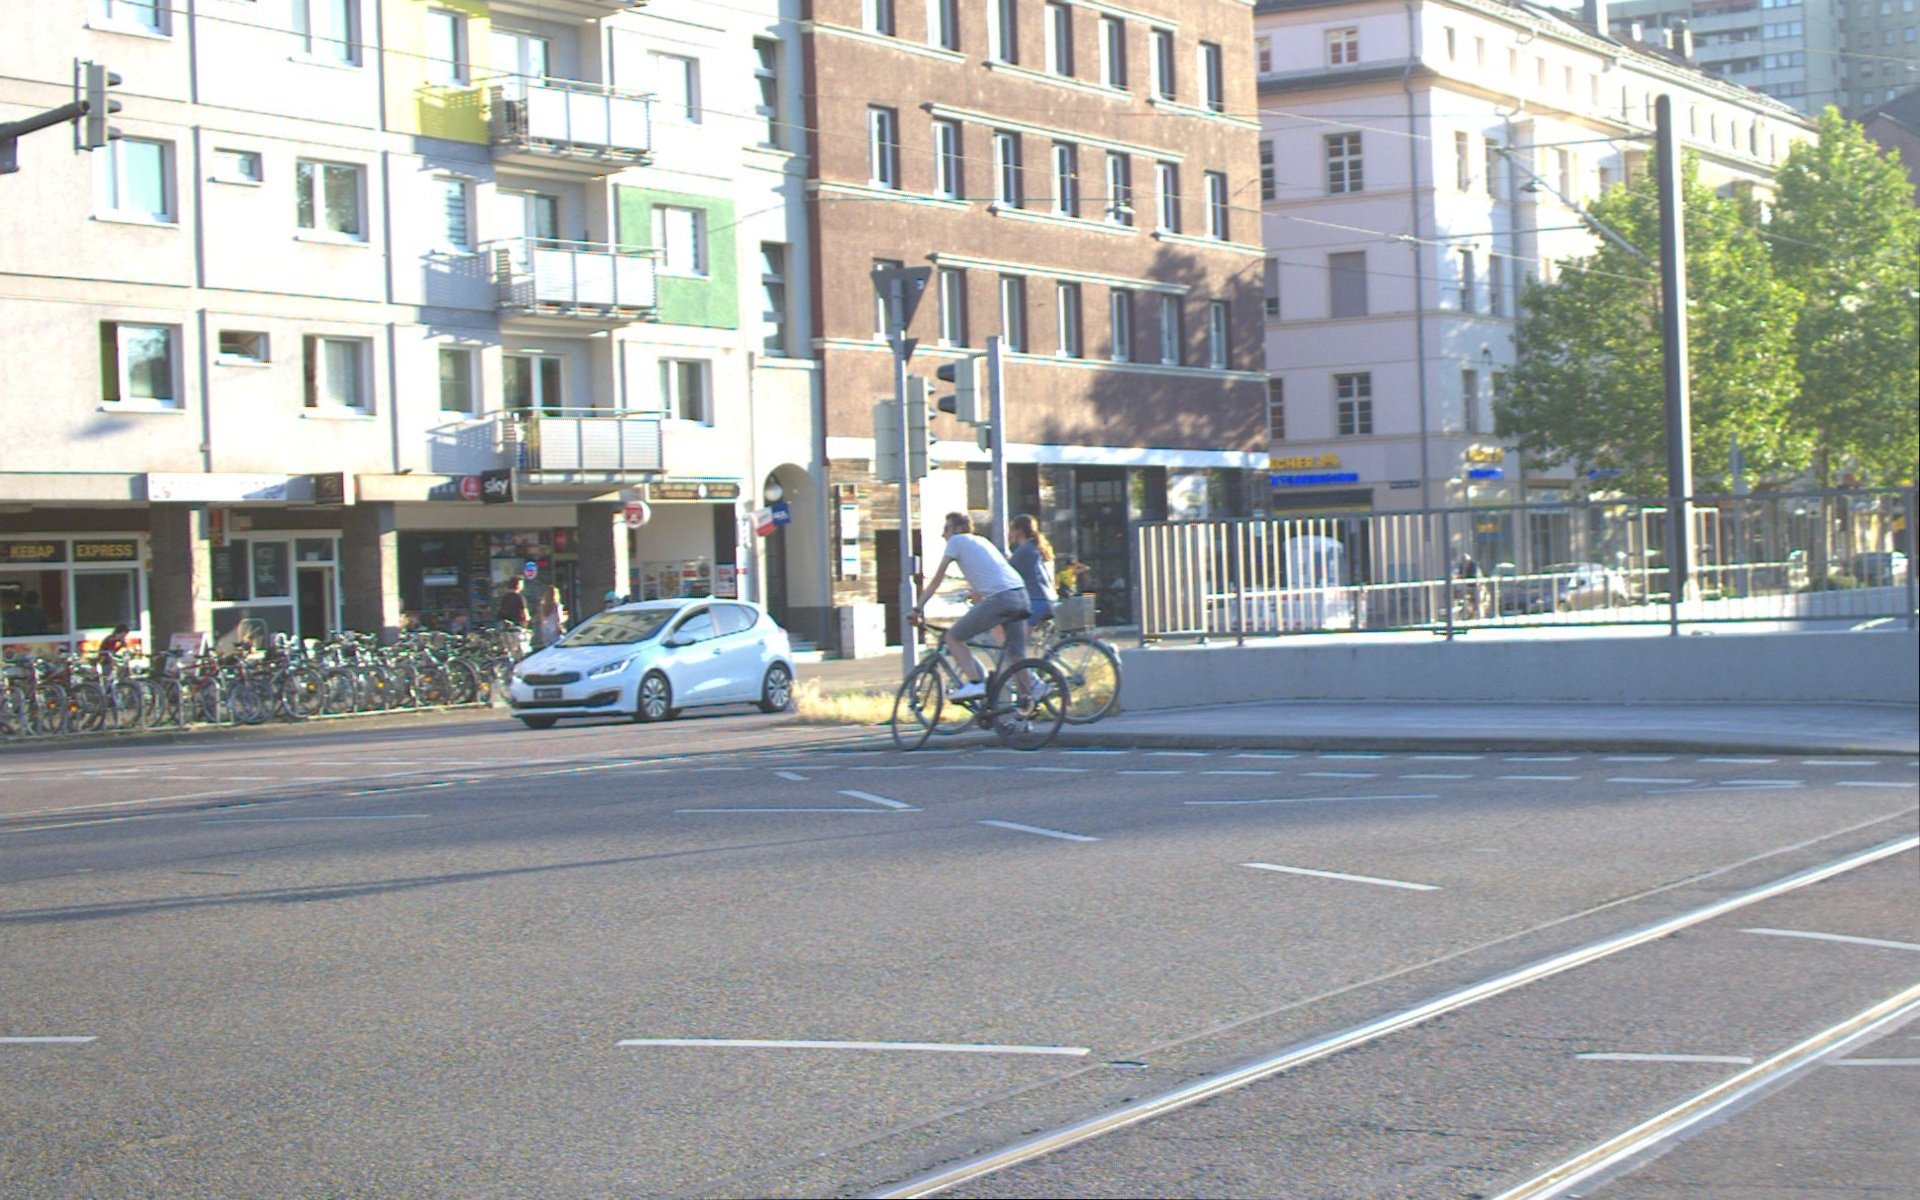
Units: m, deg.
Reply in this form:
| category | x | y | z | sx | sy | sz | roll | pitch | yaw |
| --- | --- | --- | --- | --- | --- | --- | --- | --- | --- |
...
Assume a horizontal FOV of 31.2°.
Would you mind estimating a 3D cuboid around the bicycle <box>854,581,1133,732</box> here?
| category | x | y | z | sx | sy | sz | roll | pitch | yaw |
| --- | --- | --- | --- | --- | --- | --- | --- | --- | --- |
| bicycle | 0.275 | 0.467 | 28.347 | 2.165 | 1.080 | 0.538 | -4 | 0 | 13 |

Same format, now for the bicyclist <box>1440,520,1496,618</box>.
| category | x | y | z | sx | sy | sz | roll | pitch | yaw |
| --- | --- | --- | --- | --- | --- | --- | --- | --- | --- |
| bicyclist | 10.617 | -0.655 | 71.882 | 0.798 | 2.007 | 0.922 | -2 | 1 | 32 |

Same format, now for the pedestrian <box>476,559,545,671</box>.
| category | x | y | z | sx | sy | sz | roll | pitch | yaw |
| --- | --- | --- | --- | --- | --- | --- | --- | --- | --- |
| pedestrian | -7.487 | 0.250 | 57.245 | 0.827 | 1.806 | 0.720 | -2 | 1 | 19 |

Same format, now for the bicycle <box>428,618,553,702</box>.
| category | x | y | z | sx | sy | sz | roll | pitch | yaw |
| --- | --- | --- | --- | --- | --- | --- | --- | --- | --- |
| bicycle | -6.838 | 0.881 | 50.062 | 1.693 | 1.175 | 0.747 | -1 | 1 | 32 |

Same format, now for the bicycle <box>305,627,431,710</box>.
| category | x | y | z | sx | sy | sz | roll | pitch | yaw |
| --- | --- | --- | --- | --- | --- | --- | --- | --- | --- |
| bicycle | -8.233 | 0.954 | 47.793 | 1.757 | 1.113 | 0.551 | -1 | 1 | 31 |

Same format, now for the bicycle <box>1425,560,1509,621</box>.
| category | x | y | z | sx | sy | sz | roll | pitch | yaw |
| --- | --- | --- | --- | --- | --- | --- | --- | --- | --- |
| bicycle | 10.613 | -0.210 | 71.907 | 0.814 | 1.197 | 2.408 | -2 | 1 | 32 |

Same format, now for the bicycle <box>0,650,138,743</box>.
| category | x | y | z | sx | sy | sz | roll | pitch | yaw |
| --- | --- | --- | --- | --- | --- | --- | --- | --- | --- |
| bicycle | -11.350 | 1.230 | 43.729 | 1.779 | 1.138 | 0.607 | -1 | 1 | 30 |

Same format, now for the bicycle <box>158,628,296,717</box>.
| category | x | y | z | sx | sy | sz | roll | pitch | yaw |
| --- | --- | --- | --- | --- | --- | --- | --- | --- | --- |
| bicycle | -9.923 | 0.982 | 46.530 | 1.834 | 1.156 | 0.639 | -1 | 1 | 30 |

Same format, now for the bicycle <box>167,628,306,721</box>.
| category | x | y | z | sx | sy | sz | roll | pitch | yaw |
| --- | --- | --- | --- | --- | --- | --- | --- | --- | --- |
| bicycle | -9.575 | 0.983 | 45.485 | 1.791 | 1.187 | 0.650 | -1 | 1 | 30 |

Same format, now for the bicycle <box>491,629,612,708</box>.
| category | x | y | z | sx | sy | sz | roll | pitch | yaw |
| --- | --- | --- | --- | --- | --- | --- | --- | --- | --- |
| bicycle | -6.106 | 1.023 | 51.384 | 1.693 | 1.140 | 0.695 | -1 | 1 | 32 |

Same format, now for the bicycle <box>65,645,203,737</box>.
| category | x | y | z | sx | sy | sz | roll | pitch | yaw |
| --- | --- | --- | --- | --- | --- | --- | --- | --- | --- |
| bicycle | -10.570 | 1.168 | 43.974 | 1.760 | 1.135 | 0.598 | -1 | 1 | 31 |

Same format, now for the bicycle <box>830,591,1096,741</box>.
| category | x | y | z | sx | sy | sz | roll | pitch | yaw |
| --- | --- | --- | --- | --- | --- | --- | --- | --- | --- |
| bicycle | 0.028 | 0.505 | 26.307 | 1.902 | 1.071 | 0.632 | -2 | 1 | 16 |

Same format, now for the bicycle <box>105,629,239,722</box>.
| category | x | y | z | sx | sy | sz | roll | pitch | yaw |
| --- | --- | --- | --- | --- | --- | --- | --- | --- | --- |
| bicycle | -10.177 | 0.980 | 44.397 | 1.769 | 1.163 | 0.539 | -1 | 1 | 30 |

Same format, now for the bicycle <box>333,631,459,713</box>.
| category | x | y | z | sx | sy | sz | roll | pitch | yaw |
| --- | --- | --- | --- | --- | --- | --- | --- | --- | --- |
| bicycle | -7.920 | 1.010 | 48.289 | 1.763 | 1.115 | 0.567 | -1 | 1 | 31 |

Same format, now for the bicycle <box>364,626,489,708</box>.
| category | x | y | z | sx | sy | sz | roll | pitch | yaw |
| --- | --- | --- | --- | --- | --- | --- | --- | --- | --- |
| bicycle | -7.583 | 0.952 | 48.839 | 1.730 | 1.120 | 0.633 | -1 | 0 | 32 |

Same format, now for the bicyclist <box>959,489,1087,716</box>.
| category | x | y | z | sx | sy | sz | roll | pitch | yaw |
| --- | --- | --- | --- | --- | --- | --- | --- | --- | --- |
| bicyclist | 0.523 | 0.016 | 28.282 | 0.876 | 1.812 | 0.537 | -3 | 0 | 13 |

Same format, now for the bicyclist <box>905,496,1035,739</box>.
| category | x | y | z | sx | sy | sz | roll | pitch | yaw |
| --- | --- | --- | --- | --- | --- | --- | --- | --- | --- |
| bicyclist | 0.081 | 0.128 | 26.268 | 0.793 | 1.812 | 0.646 | -2 | 1 | 15 |

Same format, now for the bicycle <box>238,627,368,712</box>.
| category | x | y | z | sx | sy | sz | roll | pitch | yaw |
| --- | --- | --- | --- | --- | --- | --- | --- | --- | --- |
| bicycle | -9.104 | 0.969 | 47.608 | 1.774 | 1.132 | 0.604 | -1 | 1 | 31 |

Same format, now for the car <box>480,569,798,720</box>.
| category | x | y | z | sx | sy | sz | roll | pitch | yaw |
| --- | --- | --- | --- | --- | --- | --- | --- | --- | --- |
| car | -3.769 | 0.500 | 40.973 | 1.692 | 1.612 | 3.993 | -2 | 1 | 31 |

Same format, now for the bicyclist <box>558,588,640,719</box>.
| category | x | y | z | sx | sy | sz | roll | pitch | yaw |
| --- | --- | --- | --- | --- | --- | --- | --- | --- | --- |
| bicyclist | -4.897 | 0.717 | 46.636 | 0.703 | 1.736 | 0.790 | -1 | 1 | 41 |

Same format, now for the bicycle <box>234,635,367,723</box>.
| category | x | y | z | sx | sy | sz | roll | pitch | yaw |
| --- | --- | --- | --- | --- | --- | --- | --- | --- | --- |
| bicycle | -8.981 | 1.076 | 46.800 | 1.779 | 1.155 | 0.604 | -1 | 1 | 30 |

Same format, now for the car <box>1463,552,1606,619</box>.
| category | x | y | z | sx | sy | sz | roll | pitch | yaw |
| --- | --- | --- | --- | --- | --- | --- | --- | --- | --- |
| car | 13.507 | -0.348 | 80.727 | 1.823 | 1.415 | 3.993 | -2 | 1 | 33 |

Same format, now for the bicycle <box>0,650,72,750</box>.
| category | x | y | z | sx | sy | sz | roll | pitch | yaw |
| --- | --- | --- | --- | --- | --- | --- | --- | --- | --- |
| bicycle | -12.029 | 1.257 | 43.012 | 1.797 | 1.204 | 0.637 | -1 | 1 | 29 |

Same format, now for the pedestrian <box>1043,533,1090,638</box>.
| category | x | y | z | sx | sy | sz | roll | pitch | yaw |
| --- | --- | --- | --- | --- | --- | --- | --- | --- | --- |
| pedestrian | 2.233 | -0.305 | 72.138 | 0.602 | 2.170 | 0.791 | -2 | 1 | 30 |

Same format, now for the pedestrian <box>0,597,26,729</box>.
| category | x | y | z | sx | sy | sz | roll | pitch | yaw |
| --- | --- | --- | --- | --- | --- | --- | --- | --- | --- |
| pedestrian | -12.458 | 0.818 | 44.344 | 0.545 | 1.678 | 0.581 | -2 | 1 | -39 |

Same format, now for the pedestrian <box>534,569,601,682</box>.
| category | x | y | z | sx | sy | sz | roll | pitch | yaw |
| --- | --- | --- | --- | --- | --- | --- | --- | --- | --- |
| pedestrian | -6.512 | 0.414 | 57.055 | 0.787 | 1.835 | 0.734 | -2 | 1 | 21 |

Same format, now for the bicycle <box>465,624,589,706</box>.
| category | x | y | z | sx | sy | sz | roll | pitch | yaw |
| --- | --- | --- | --- | --- | --- | --- | --- | --- | --- |
| bicycle | -6.390 | 0.957 | 50.698 | 1.693 | 1.166 | 0.747 | -1 | 1 | 32 |

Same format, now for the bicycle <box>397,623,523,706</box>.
| category | x | y | z | sx | sy | sz | roll | pitch | yaw |
| --- | --- | --- | --- | --- | --- | --- | --- | --- | --- |
| bicycle | -7.190 | 0.936 | 49.414 | 1.693 | 1.149 | 0.704 | -1 | 1 | 32 |

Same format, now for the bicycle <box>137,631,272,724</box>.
| category | x | y | z | sx | sy | sz | roll | pitch | yaw |
| --- | --- | --- | --- | --- | --- | --- | --- | --- | --- |
| bicycle | -9.875 | 1.018 | 44.906 | 1.772 | 1.177 | 0.567 | -1 | 0 | 30 |
